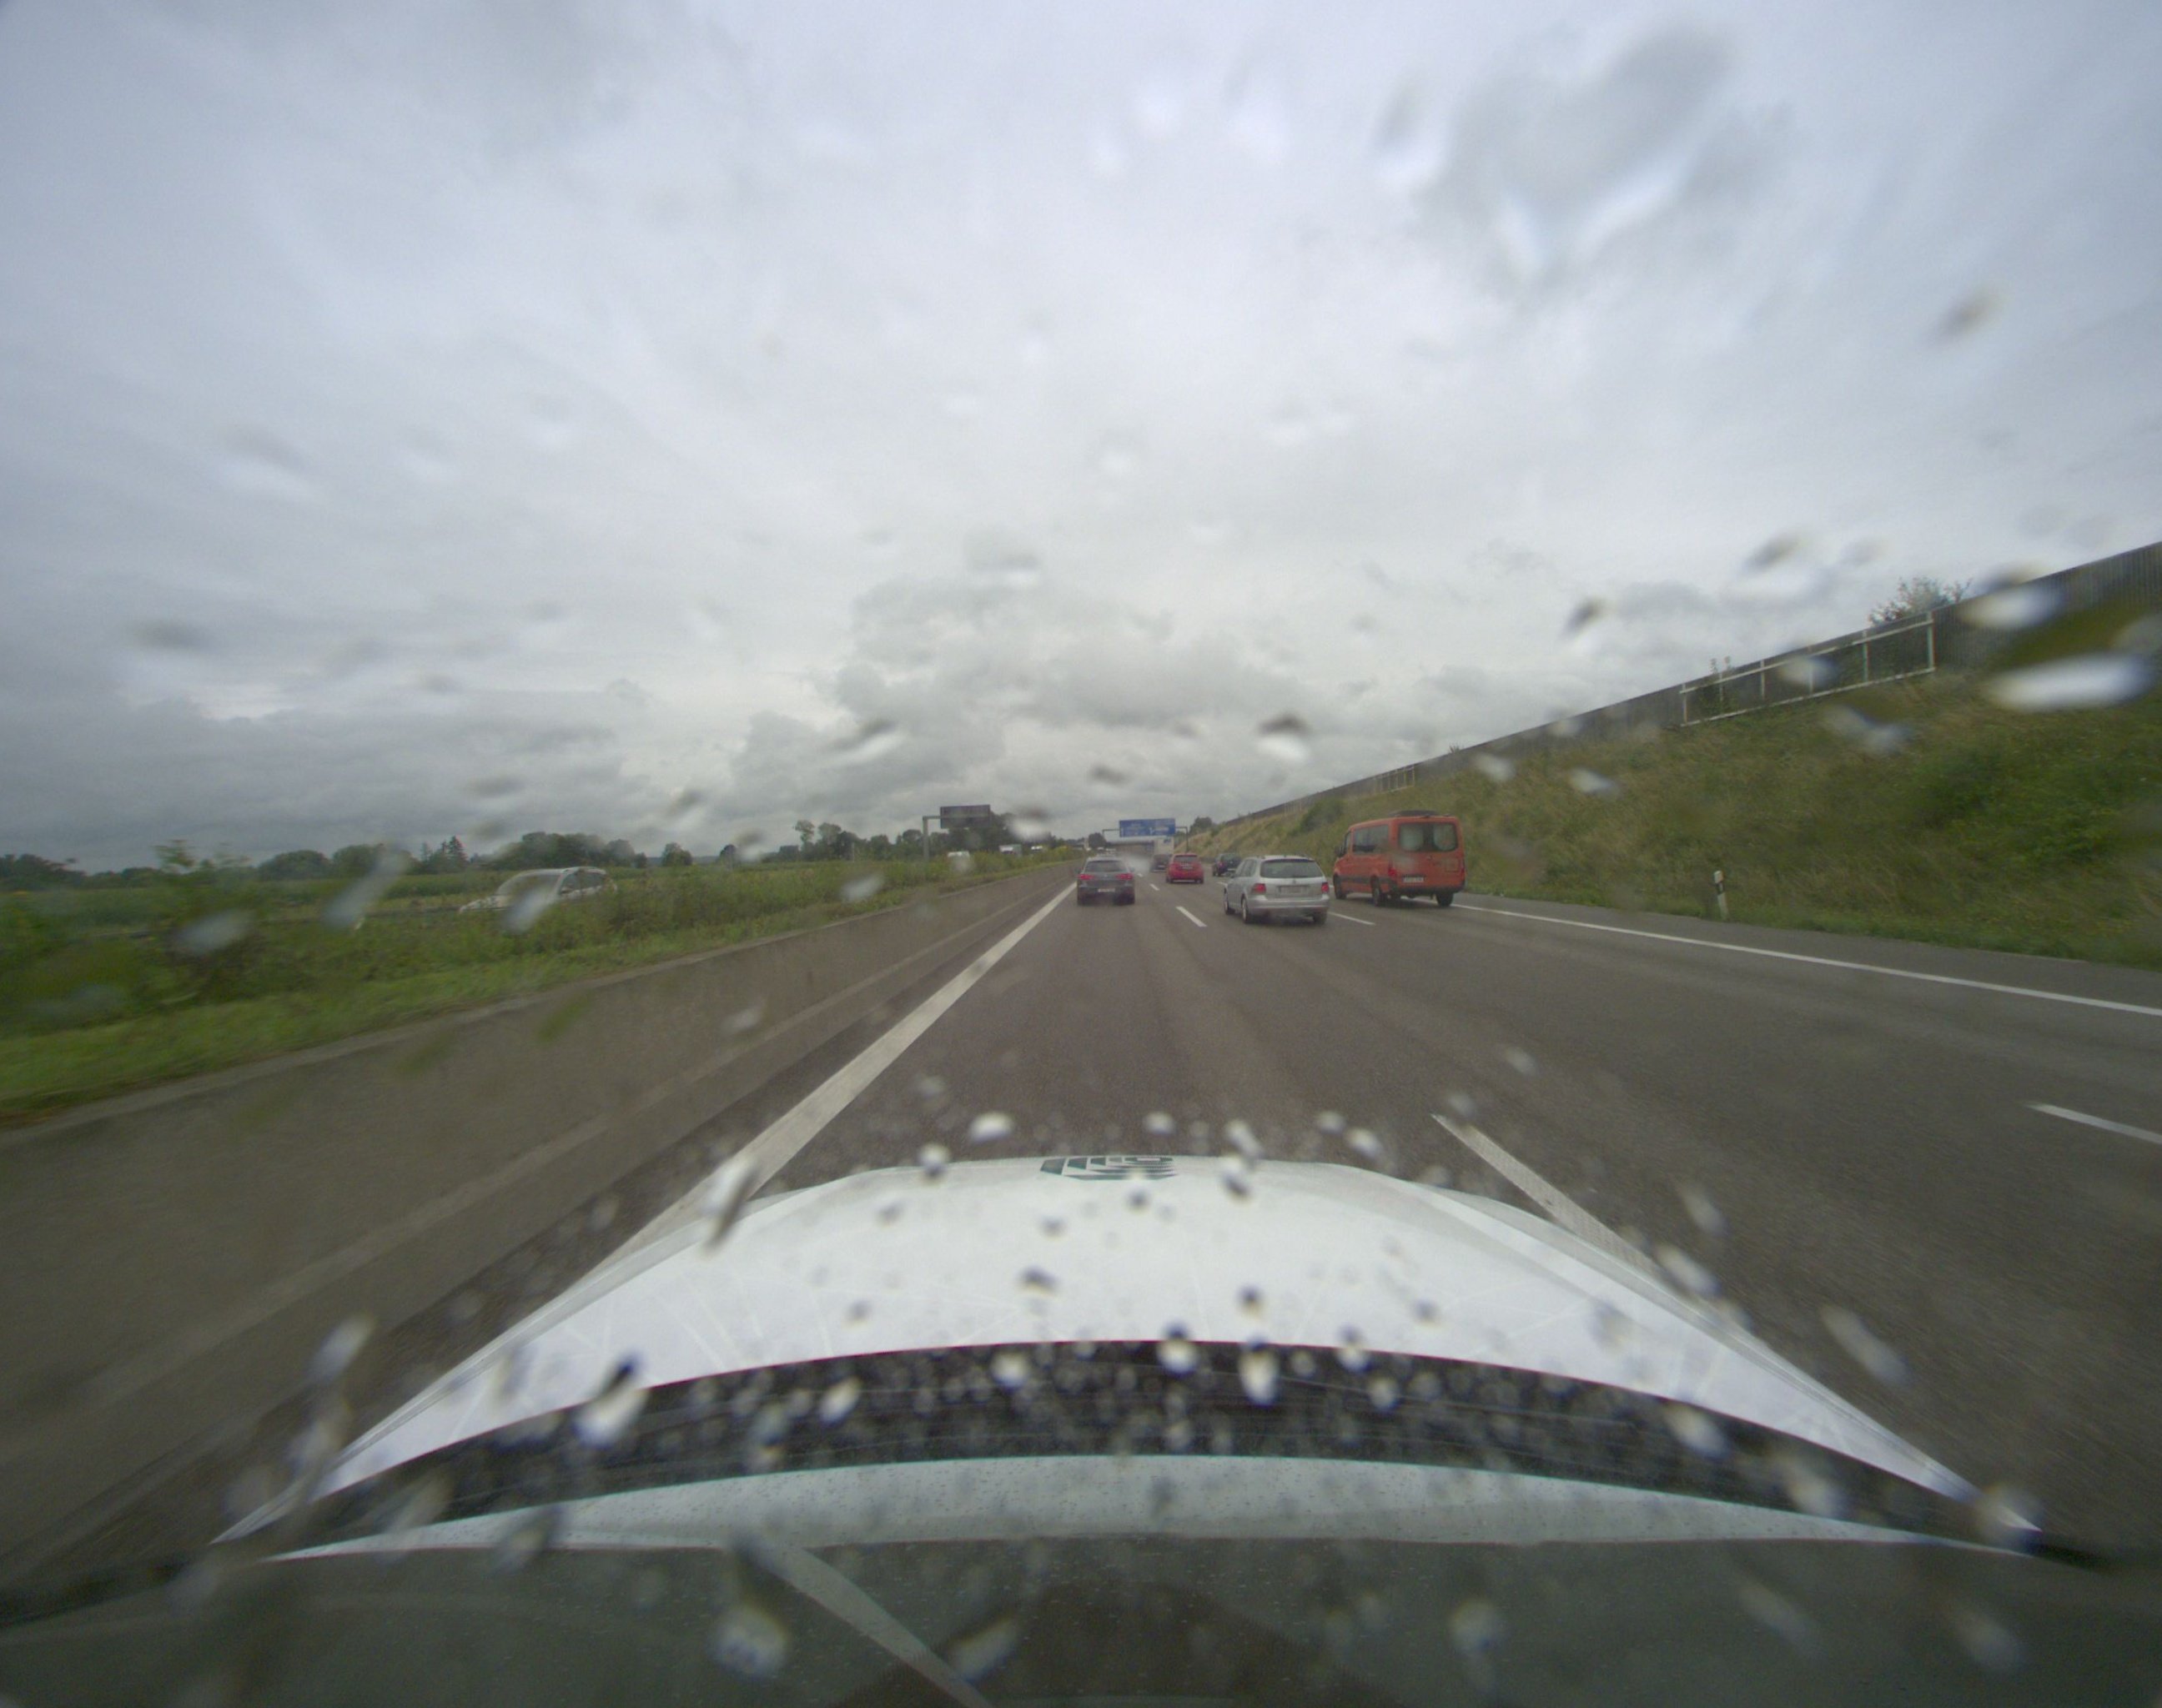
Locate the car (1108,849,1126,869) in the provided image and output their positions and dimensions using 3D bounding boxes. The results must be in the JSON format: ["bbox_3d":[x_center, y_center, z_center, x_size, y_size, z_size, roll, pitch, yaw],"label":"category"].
[{"bbox_3d":[3.617,0.495,82.585,1.698,1.796,3.857,-3,0,2],"label":"car"}]

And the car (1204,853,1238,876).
[{"bbox_3d":[8.720,0.635,50.932,1.695,1.401,3.878,0,0,3],"label":"car"}]

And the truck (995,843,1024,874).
[{"bbox_3d":[-11.336,0.744,130.299,3.212,4.649,9.681,0,0,3],"label":"truck"}]

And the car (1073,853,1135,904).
[{"bbox_3d":[0.743,0.718,25.330,1.761,1.467,4.002,0,0,2],"label":"car"}]

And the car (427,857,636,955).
[{"bbox_3d":[-13.261,1.152,20.066,1.986,2.013,4.350,-3,0,2],"label":"car"}]

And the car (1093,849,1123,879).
[{"bbox_3d":[1.688,0.592,49.621,1.747,1.750,4.003,0,0,3],"label":"car"}]

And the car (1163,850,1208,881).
[{"bbox_3d":[5.244,0.553,41.393,1.883,1.446,4.688,-1,0,3],"label":"car"}]

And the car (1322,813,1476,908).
[{"bbox_3d":[8.834,0.153,23.375,2.078,2.315,6.182,-1,0,1],"label":"car"}]

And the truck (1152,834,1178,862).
[{"bbox_3d":[14.150,-0.909,138.328,3.270,4.295,19.045,0,0,3],"label":"truck"}]

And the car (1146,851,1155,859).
[{"bbox_3d":[18.951,0.264,221.388,1.986,1.860,4.391,-2,0,1],"label":"car"}]

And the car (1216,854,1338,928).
[{"bbox_3d":[4.269,0.734,18.414,1.735,1.425,4.518,-2,0,1],"label":"car"}]

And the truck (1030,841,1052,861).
[{"bbox_3d":[-8.193,-0.503,166.491,3.169,3.967,10.822,0,0,4],"label":"truck"}]

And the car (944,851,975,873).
[{"bbox_3d":[-14.143,0.910,95.425,2.236,2.530,6.910,0,0,3],"label":"car"}]

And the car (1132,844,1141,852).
[{"bbox_3d":[14.456,-1.450,212.234,1.987,2.013,4.000,-2,0,0],"label":"car"}]

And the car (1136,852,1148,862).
[{"bbox_3d":[9.723,0.472,129.814,1.838,1.687,4.001,0,0,2],"label":"car"}]

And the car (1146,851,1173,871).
[{"bbox_3d":[6.214,0.520,64.704,1.913,1.522,4.626,-1,0,3],"label":"car"}]
